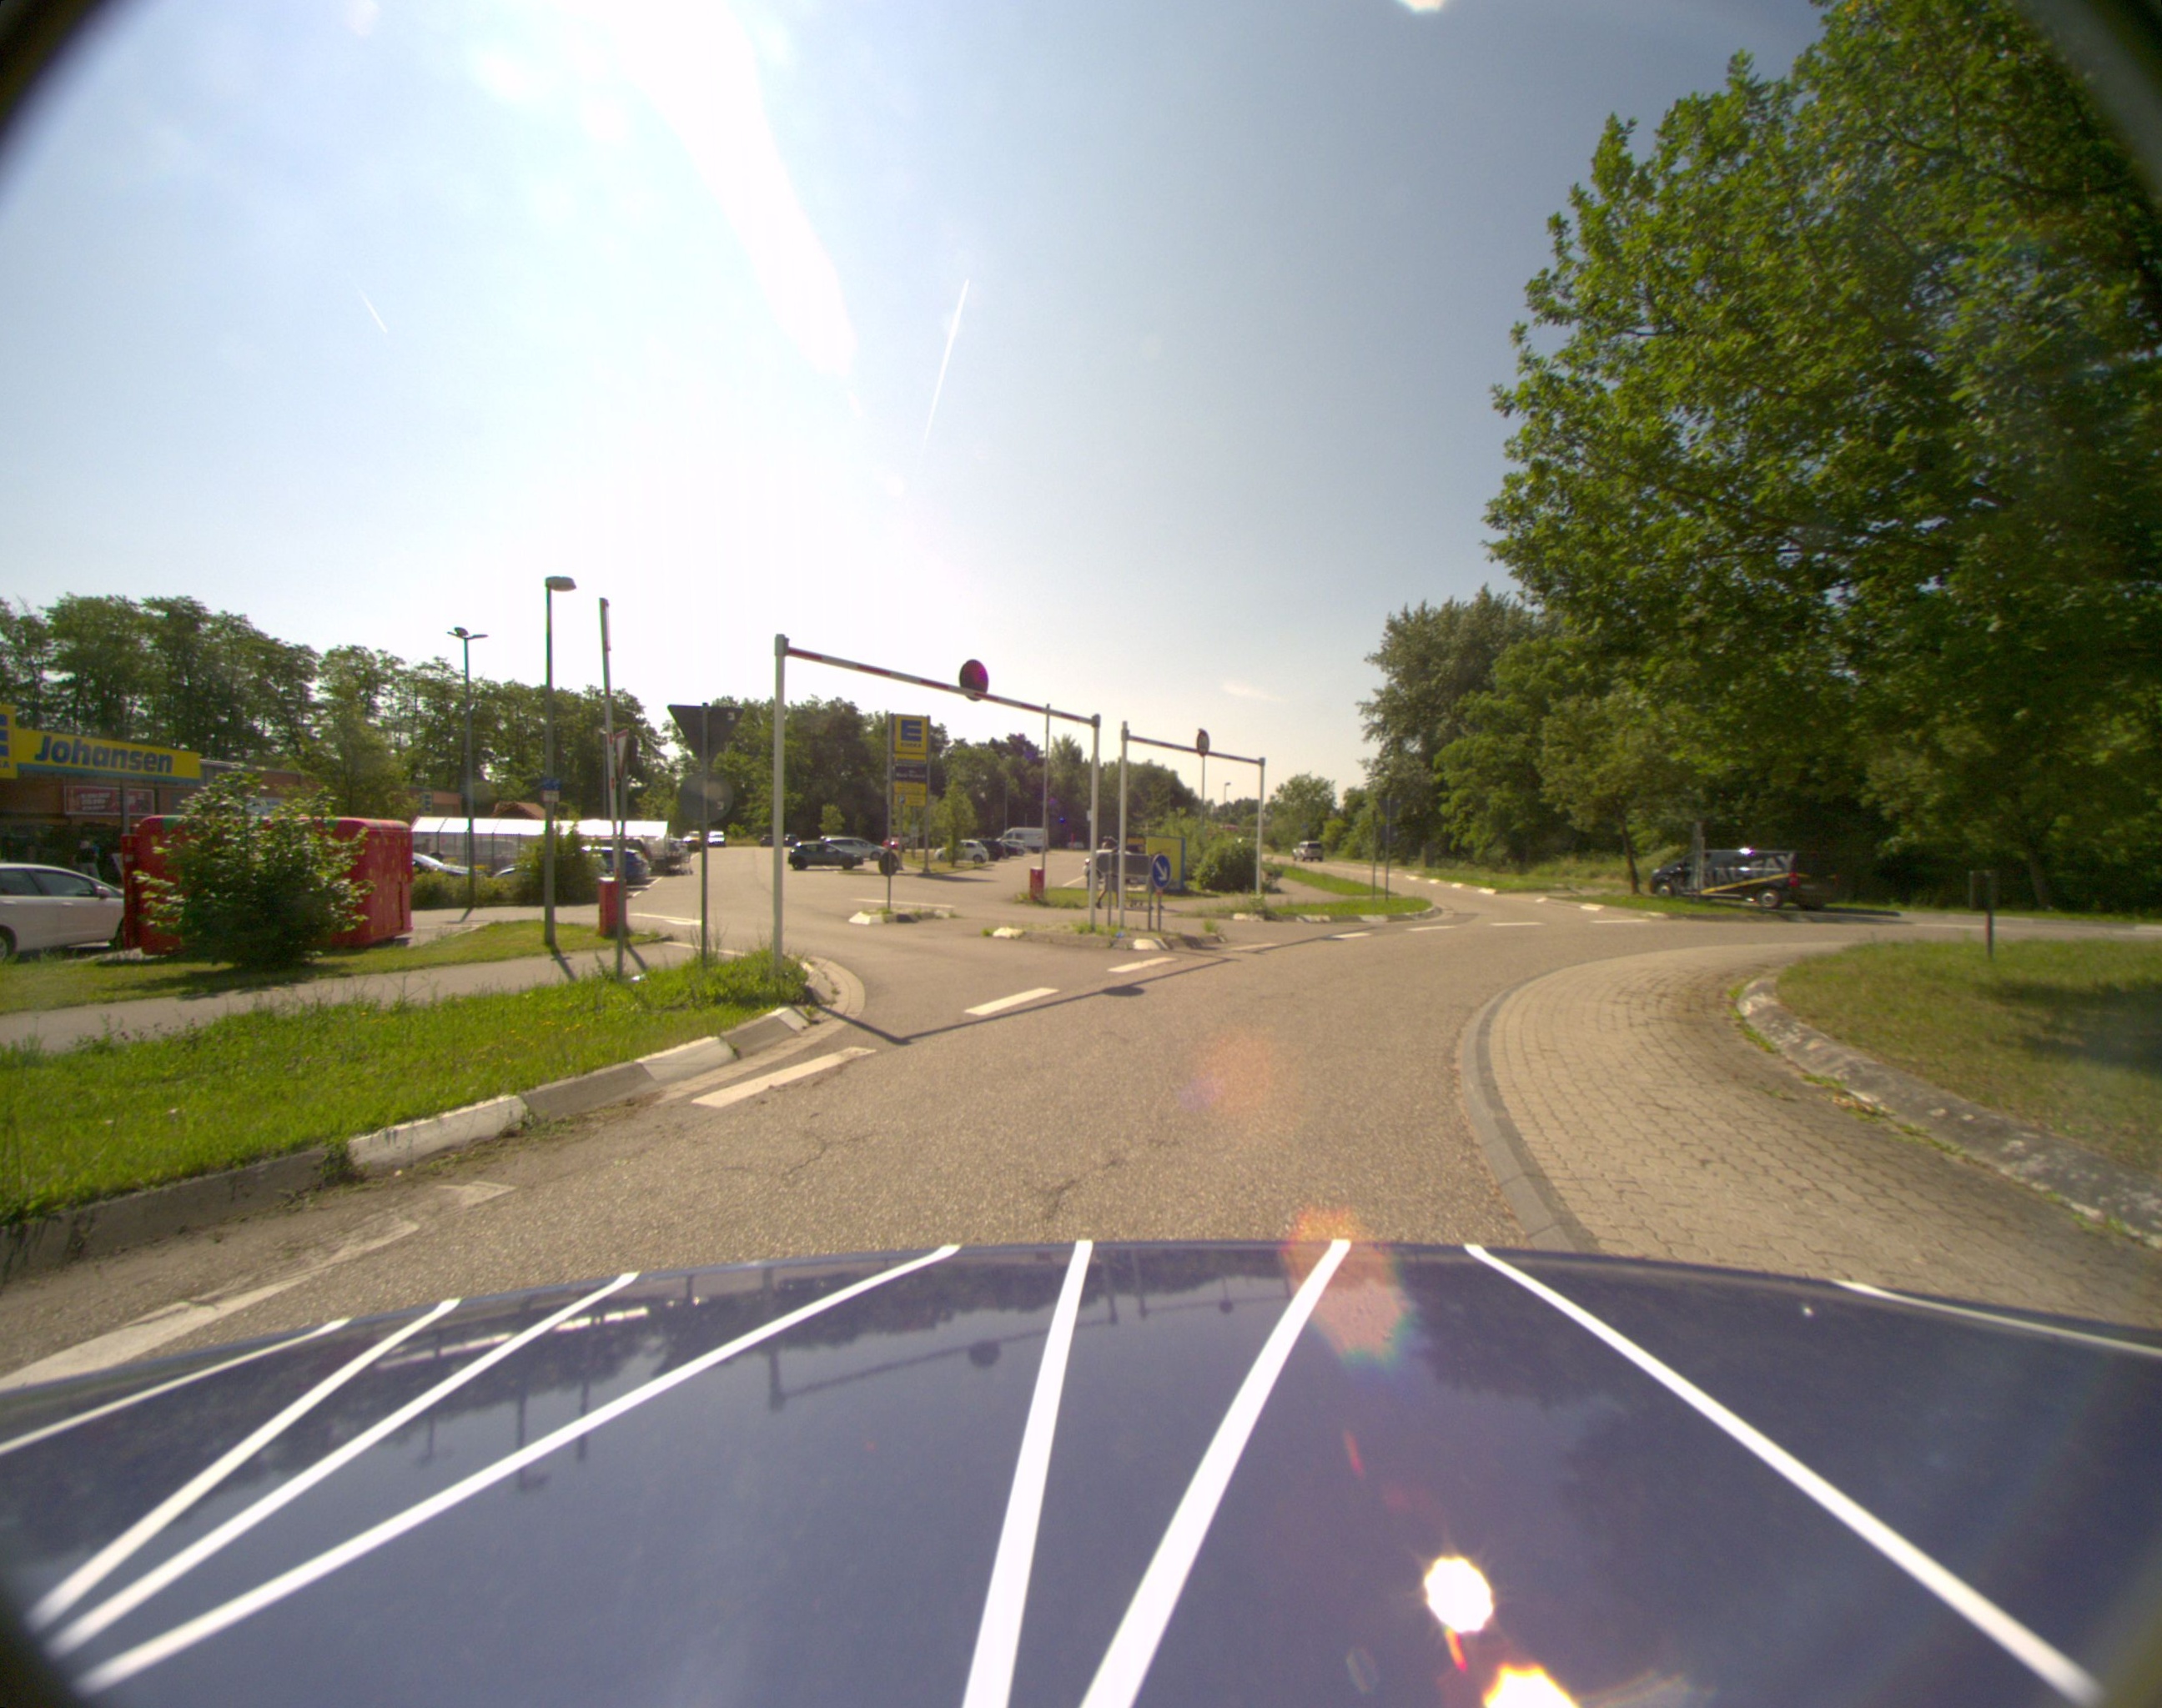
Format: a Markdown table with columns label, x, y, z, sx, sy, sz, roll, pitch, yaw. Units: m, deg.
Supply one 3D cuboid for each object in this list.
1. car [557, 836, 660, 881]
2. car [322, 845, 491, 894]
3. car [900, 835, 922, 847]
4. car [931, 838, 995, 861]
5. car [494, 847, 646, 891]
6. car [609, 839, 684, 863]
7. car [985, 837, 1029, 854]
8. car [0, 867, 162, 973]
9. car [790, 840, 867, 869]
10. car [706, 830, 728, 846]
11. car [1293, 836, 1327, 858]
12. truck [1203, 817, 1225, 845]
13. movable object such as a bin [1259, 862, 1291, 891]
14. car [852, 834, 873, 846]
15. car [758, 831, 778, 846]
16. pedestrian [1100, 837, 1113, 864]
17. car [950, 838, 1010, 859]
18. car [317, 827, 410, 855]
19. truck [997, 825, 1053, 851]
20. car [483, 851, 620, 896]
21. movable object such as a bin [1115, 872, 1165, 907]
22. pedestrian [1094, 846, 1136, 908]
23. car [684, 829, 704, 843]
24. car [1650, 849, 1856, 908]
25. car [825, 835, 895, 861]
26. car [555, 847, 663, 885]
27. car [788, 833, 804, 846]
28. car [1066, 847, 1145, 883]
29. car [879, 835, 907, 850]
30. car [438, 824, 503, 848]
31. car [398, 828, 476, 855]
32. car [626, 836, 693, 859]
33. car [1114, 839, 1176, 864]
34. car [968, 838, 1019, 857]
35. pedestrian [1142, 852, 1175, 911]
| label | x | y | z | sx | sy | sz | roll | pitch | yaw |
| --- | --- | --- | --- | --- | --- | --- | --- | --- | --- |
| car | -20.962 | 0.183 | 33.884 | 3.495 | 1.918 | 1.875 | 0 | 2 | -17 |
| car | -23.610 | 0.508 | 26.795 | 4.004 | 1.613 | 1.909 | 0 | 2 | -22 |
| car | -21.764 | -1.653 | 97.119 | 2.074 | 1.478 | 3.991 | 0 | 2 | -23 |
| car | -7.914 | -0.310 | 51.024 | 3.996 | 1.434 | 1.650 | 1 | 2 | 3 |
| car | -19.105 | 0.523 | 28.652 | 4.432 | 1.562 | 1.713 | 0 | 1 | -20 |
| car | -27.920 | -0.208 | 48.959 | 4.005 | 1.477 | 1.964 | 0 | 1 | -25 |
| car | -6.829 | -0.786 | 69.771 | 3.974 | 1.445 | 1.903 | 1 | 2 | -7 |
| car | -16.544 | 0.963 | 11.482 | 1.728 | 1.437 | 3.764 | 0 | 0 | -21 |
| car | -14.227 | 0.026 | 42.974 | 4.002 | 1.579 | 1.659 | 0 | 2 | -13 |
| car | -41.948 | -1.874 | 87.714 | 2.074 | 1.701 | 3.991 | 0 | 2 | -23 |
| car | 20.701 | -0.667 | 68.801 | 1.898 | 1.805 | 4.596 | 1 | 2 | 3 |
| truck | 18.890 | -3.273 | 108.454 | 2.718 | 3.893 | 5.953 | 1 | 2 | 7 |
| movable object such as a bin | 8.056 | 0.901 | 31.509 | 0.868 | 1.114 | 1.458 | 1 | 2 | 31 |
| car | -27.387 | -1.760 | 95.089 | 2.074 | 1.478 | 3.991 | 0 | 2 | -23 |
| car | -37.026 | -1.894 | 89.851 | 2.074 | 1.701 | 3.991 | 0 | 2 | -23 |
| pedestrian | 1.713 | -0.262 | 51.571 | 0.820 | 1.787 | 0.866 | 1 | 2 | 3 |
| car | -7.424 | -0.424 | 56.374 | 4.163 | 1.565 | 1.999 | 0 | 2 | 0 |
| car | -46.527 | -0.845 | 49.392 | 4.006 | 1.806 | 1.995 | 0 | 2 | -28 |
| truck | -5.866 | -1.737 | 80.397 | 5.612 | 2.591 | 2.203 | 1 | 2 | 2 |
| car | -18.181 | 0.637 | 26.278 | 3.495 | 1.449 | 1.713 | 0 | 1 | -17 |
| movable object such as a bin | 1.776 | 1.054 | 22.920 | 1.206 | 0.949 | 0.878 | -1 | 2 | -38 |
| pedestrian | 0.984 | 0.650 | 22.247 | 0.844 | 1.775 | 0.878 | -1 | 2 | -38 |
| car | -44.093 | -2.070 | 86.615 | 1.798 | 1.587 | 4.250 | 0 | 2 | -24 |
| car | 21.817 | 0.713 | 24.995 | 2.102 | 1.705 | 4.711 | 0 | 1 | -13 |
| car | -15.863 | -0.487 | 54.565 | 4.565 | 1.693 | 1.995 | -2 | 3 | -23 |
| car | -19.617 | 0.459 | 31.734 | 3.495 | 1.489 | 1.713 | 0 | 1 | -17 |
| car | -34.276 | -1.741 | 91.267 | 1.664 | 1.478 | 4.363 | 0 | 2 | -23 |
| car | 1.148 | 0.488 | 35.927 | 3.602 | 1.553 | 1.813 | 2 | 2 | 1 |
| car | -20.500 | -1.264 | 82.721 | 2.003 | 1.457 | 4.483 | 0 | 2 | -27 |
| car | -53.656 | -1.566 | 66.856 | 4.004 | 2.002 | 1.996 | 0 | 2 | -20 |
| car | -48.188 | -0.950 | 56.946 | 4.005 | 2.002 | 1.995 | 0 | 2 | -23 |
| car | -31.160 | -0.463 | 56.235 | 4.003 | 1.652 | 1.996 | 0 | 1 | -18 |
| car | 4.306 | -0.162 | 51.616 | 4.128 | 1.618 | 1.752 | 0 | 1 | 4 |
| car | -7.036 | -0.539 | 61.640 | 3.998 | 1.419 | 1.748 | 1 | 2 | -4 |
| pedestrian | 2.200 | 0.758 | 21.656 | 0.597 | 1.639 | 0.702 | -1 | 2 | -37 |
